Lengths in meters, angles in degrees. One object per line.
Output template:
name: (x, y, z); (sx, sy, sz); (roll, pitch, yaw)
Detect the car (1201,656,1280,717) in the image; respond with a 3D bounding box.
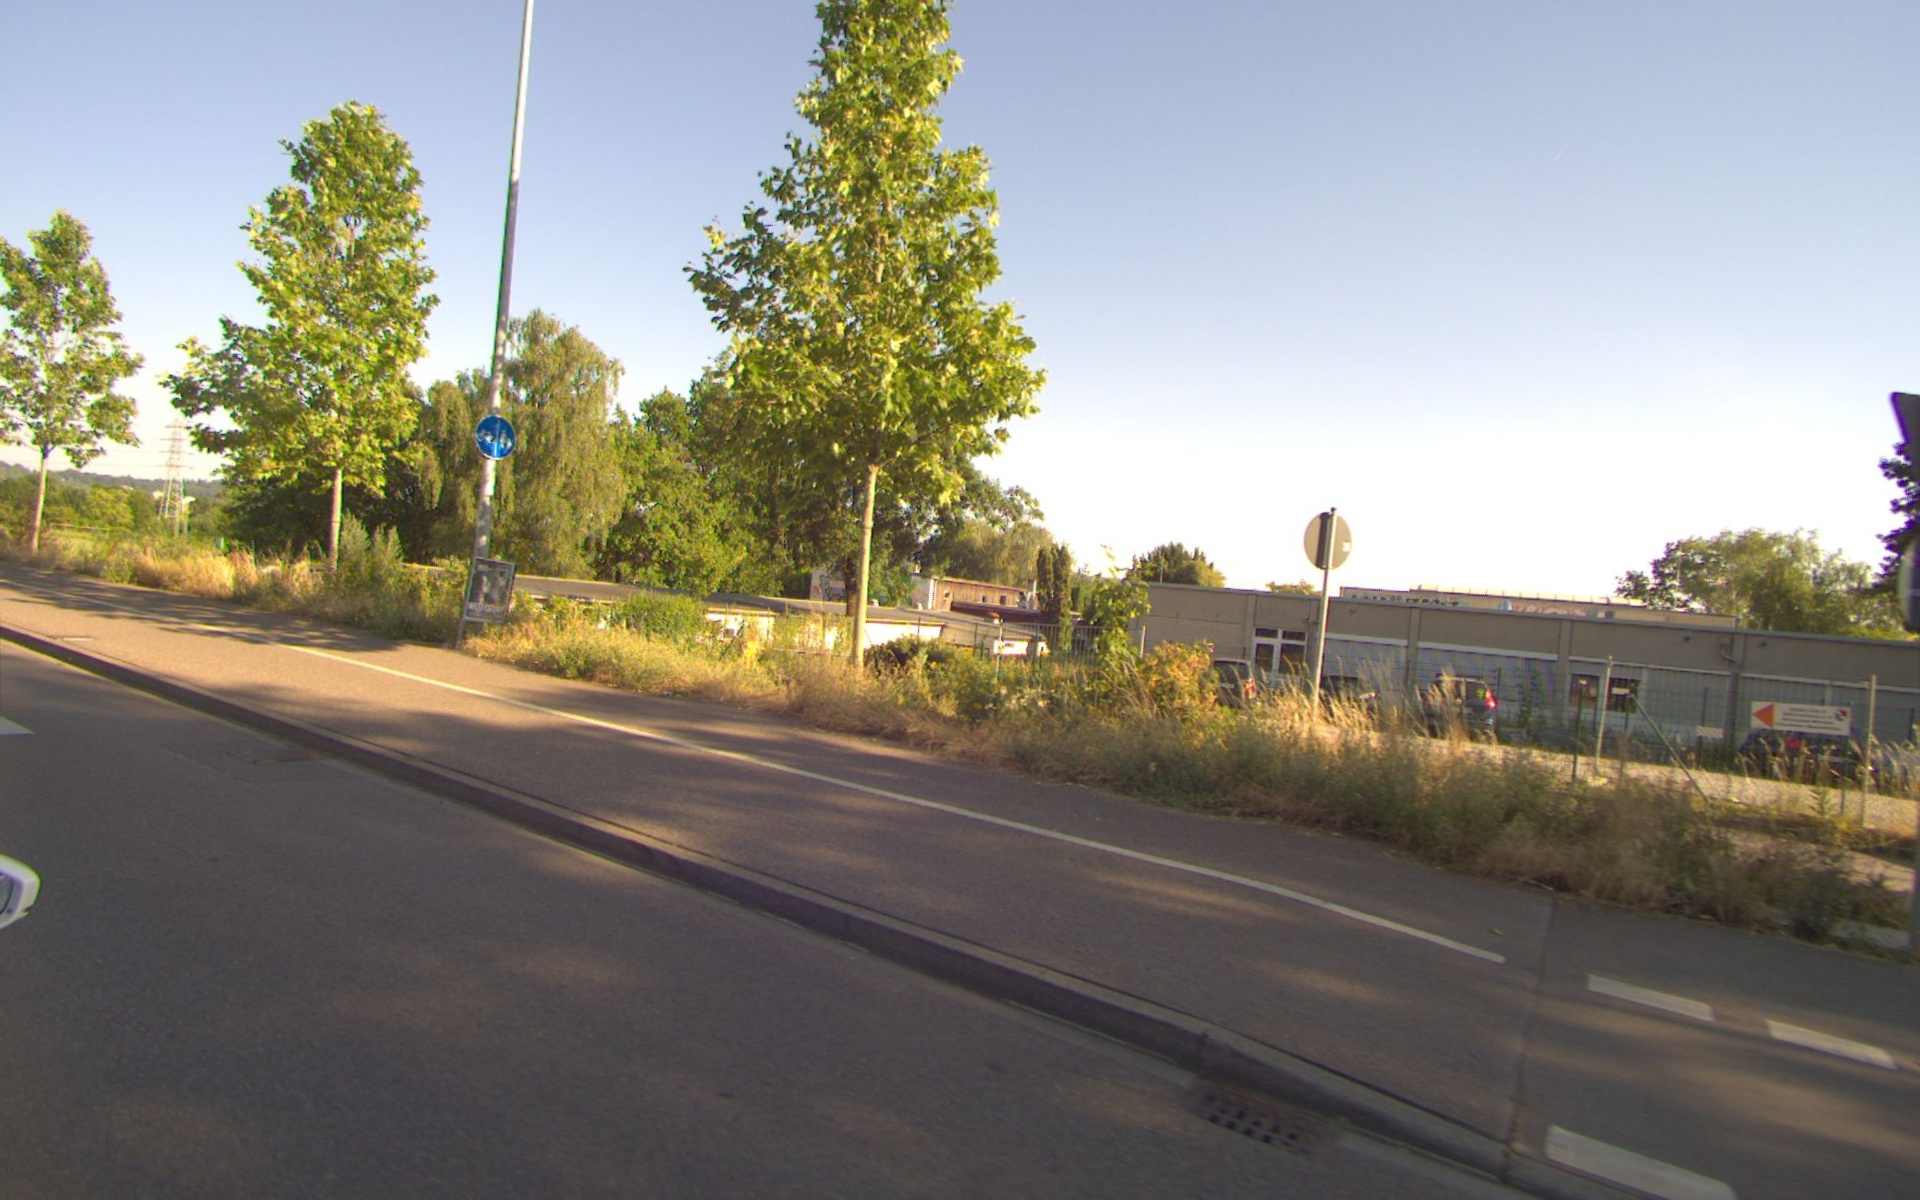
car: (8.438, 2.555, 30.028); (1.697, 1.574, 3.794); (3, -2, 23)

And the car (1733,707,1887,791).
car: (20.517, 3.528, 24.476); (1.655, 1.604, 4.034); (7, -2, 24)

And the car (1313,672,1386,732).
car: (10.971, 2.805, 28.202); (1.708, 1.413, 3.794); (3, -2, 23)

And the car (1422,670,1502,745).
car: (13.369, 2.847, 26.951); (1.676, 1.685, 3.922); (5, -3, 25)
